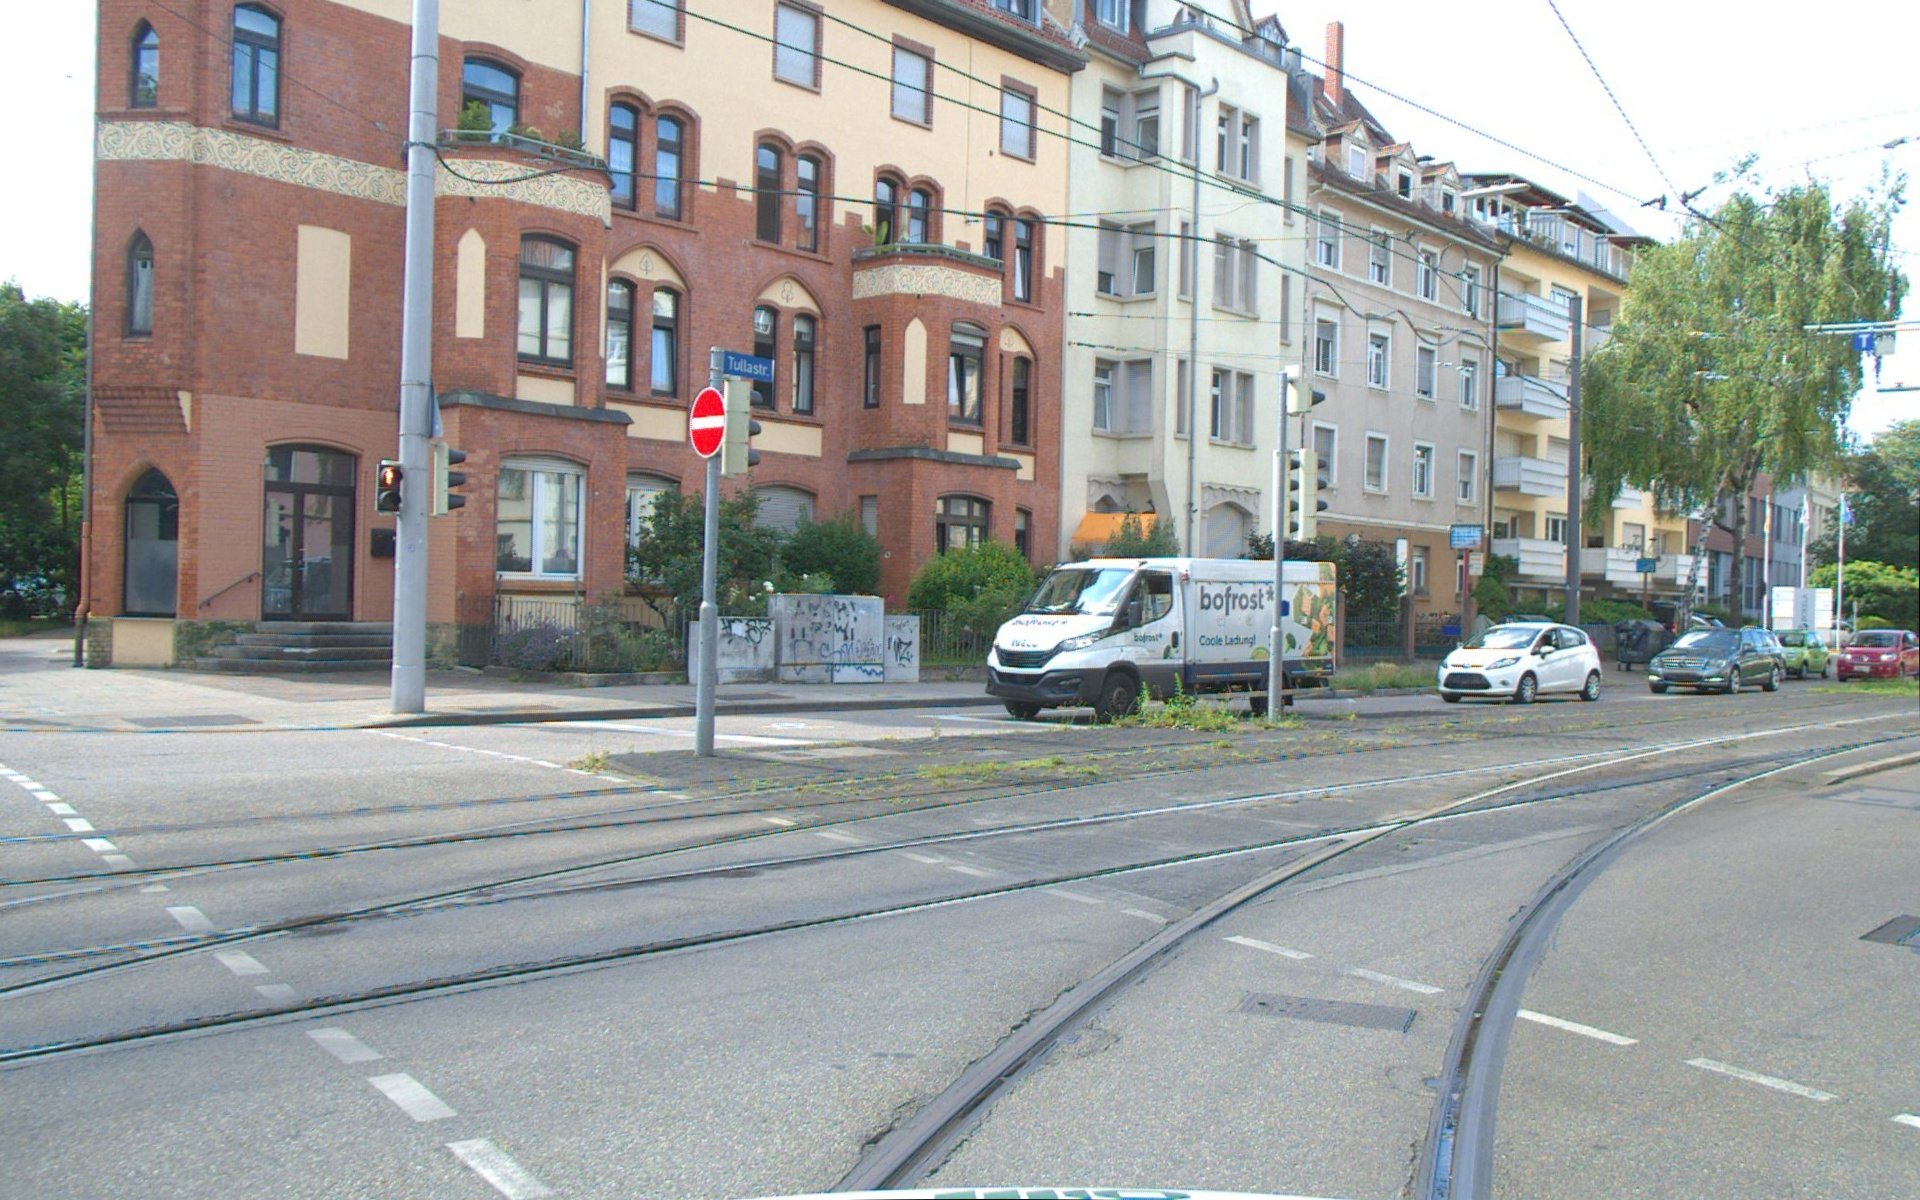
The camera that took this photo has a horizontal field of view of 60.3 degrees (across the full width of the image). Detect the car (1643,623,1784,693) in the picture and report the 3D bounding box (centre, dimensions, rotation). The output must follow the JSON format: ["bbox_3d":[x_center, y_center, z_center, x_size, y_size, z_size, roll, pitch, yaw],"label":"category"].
[{"bbox_3d":[16.788,1.248,36.745,2.190,1.395,3.966,1,0,35],"label":"car"}]

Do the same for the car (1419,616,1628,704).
[{"bbox_3d":[10.465,1.075,30.599,3.983,1.464,1.907,1,0,-41],"label":"car"}]

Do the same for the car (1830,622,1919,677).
[{"bbox_3d":[26.181,1.384,47.229,1.685,1.467,3.336,1,0,40],"label":"car"}]

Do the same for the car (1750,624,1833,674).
[{"bbox_3d":[25.011,1.451,49.713,1.538,1.410,3.171,1,0,40],"label":"car"}]

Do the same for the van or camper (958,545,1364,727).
[{"bbox_3d":[3.081,0.487,23.912,6.493,2.293,2.212,1,0,-44],"label":"van or camper"}]

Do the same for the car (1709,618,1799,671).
[{"bbox_3d":[22.402,1.236,46.612,1.538,1.410,3.171,1,0,40],"label":"car"}]
